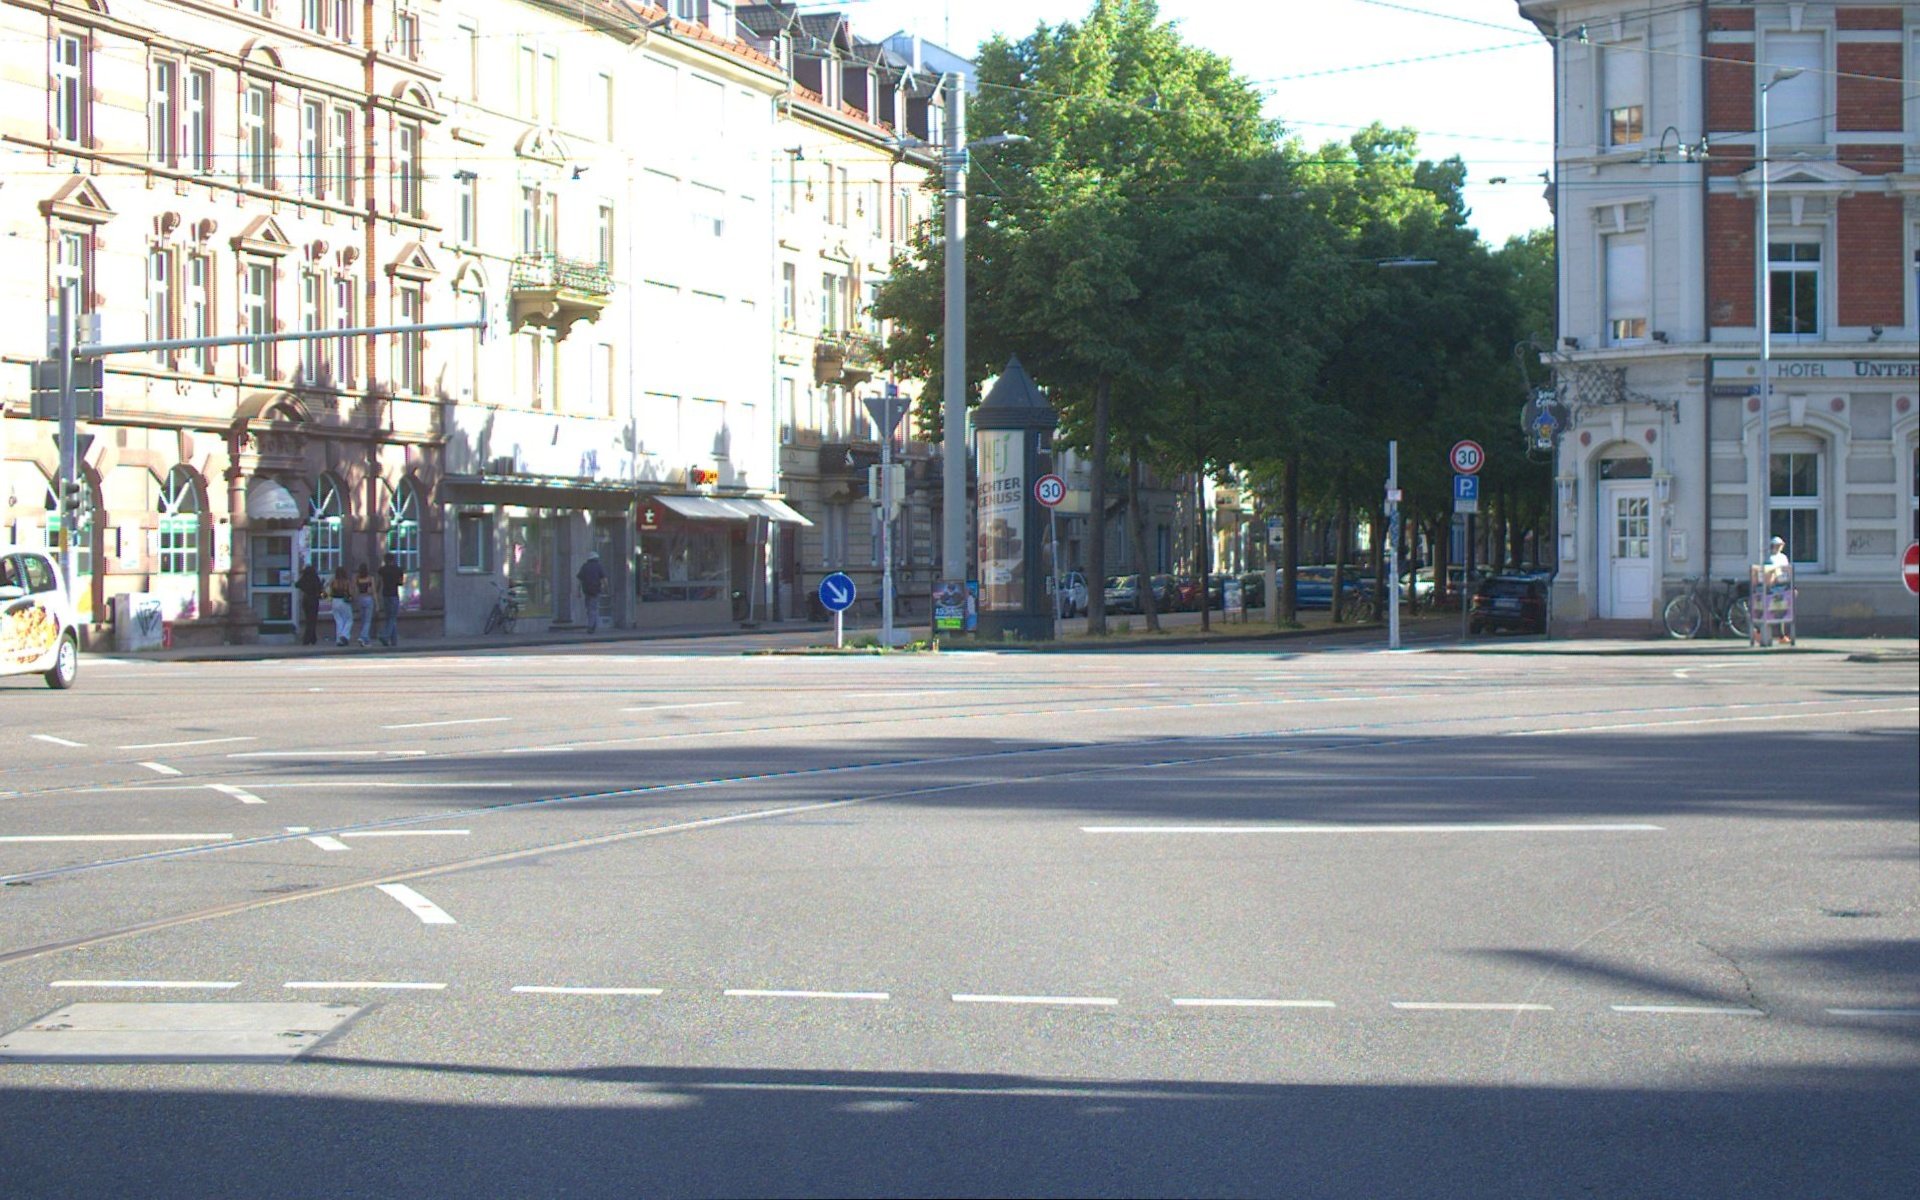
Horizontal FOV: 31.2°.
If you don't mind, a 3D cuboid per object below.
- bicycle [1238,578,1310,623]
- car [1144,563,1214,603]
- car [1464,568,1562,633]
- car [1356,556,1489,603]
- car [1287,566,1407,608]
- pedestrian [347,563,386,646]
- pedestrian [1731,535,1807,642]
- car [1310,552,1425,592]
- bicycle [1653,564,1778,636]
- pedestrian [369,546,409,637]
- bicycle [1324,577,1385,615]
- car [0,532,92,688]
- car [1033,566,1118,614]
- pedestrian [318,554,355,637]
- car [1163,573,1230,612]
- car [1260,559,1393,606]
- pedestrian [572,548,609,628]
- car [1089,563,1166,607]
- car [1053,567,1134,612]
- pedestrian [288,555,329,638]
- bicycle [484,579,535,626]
[{"bbox_3d":[7.551,0.006,82.756,0.582,1.063,1.949,-1,1,-37],"label":"bicycle"},{"bbox_3d":[8.400,-0.659,131.763,1.995,1.492,4.031,0,1,14],"label":"car"},{"bbox_3d":[13.273,-0.002,82.414,1.995,1.492,4.031,0,1,14],"label":"car"},{"bbox_3d":[15.669,-0.694,116.525,3.994,1.540,1.997,0,1,31],"label":"car"},{"bbox_3d":[14.444,-0.492,128.304,3.993,1.540,1.997,0,1,28],"label":"car"},{"bbox_3d":[-11.799,0.086,68.346,0.551,1.636,0.632,0,1,14],"label":"pedestrian"},{"bbox_3d":[12.800,-0.188,54.402,0.715,1.664,0.939,-1,1,-32],"label":"pedestrian"},{"bbox_3d":[15.930,-1.093,134.410,3.993,1.540,1.997,0,1,28],"label":"car"},{"bbox_3d":[12.560,-0.002,57.175,1.961,1.186,0.546,0,1,5],"label":"bicycle"},{"bbox_3d":[-11.546,-0.182,69.513,0.580,1.830,0.632,0,1,16],"label":"pedestrian"},{"bbox_3d":[11.381,-0.130,99.249,0.582,1.063,1.949,-1,1,-37],"label":"bicycle"},{"bbox_3d":[-9.972,0.085,33.736,1.718,1.492,3.583,0,1,5],"label":"car"},{"bbox_3d":[3.810,-0.335,112.872,1.995,1.492,4.031,0,1,14],"label":"car"},{"bbox_3d":[-12.409,-0.095,68.433,0.551,1.636,0.537,0,1,15],"label":"pedestrian"},{"bbox_3d":[9.413,-0.309,136.531,1.995,1.492,4.031,0,1,14],"label":"car"},{"bbox_3d":[12.321,-0.582,115.661,3.993,1.540,1.997,0,1,28],"label":"car"},{"bbox_3d":[-8.784,-0.292,81.788,0.682,1.902,0.632,0,1,16],"label":"pedestrian"},{"bbox_3d":[5.978,-0.539,122.593,1.995,1.492,4.031,0,1,14],"label":"car"},{"bbox_3d":[4.587,-0.369,117.358,1.995,1.492,4.031,0,1,14],"label":"car"},{"bbox_3d":[-12.983,-0.068,68.532,0.627,1.636,0.537,0,1,15],"label":"pedestrian"},{"bbox_3d":[-10.427,0.051,79.551,0.495,1.063,1.768,0,1,16],"label":"bicycle"}]
